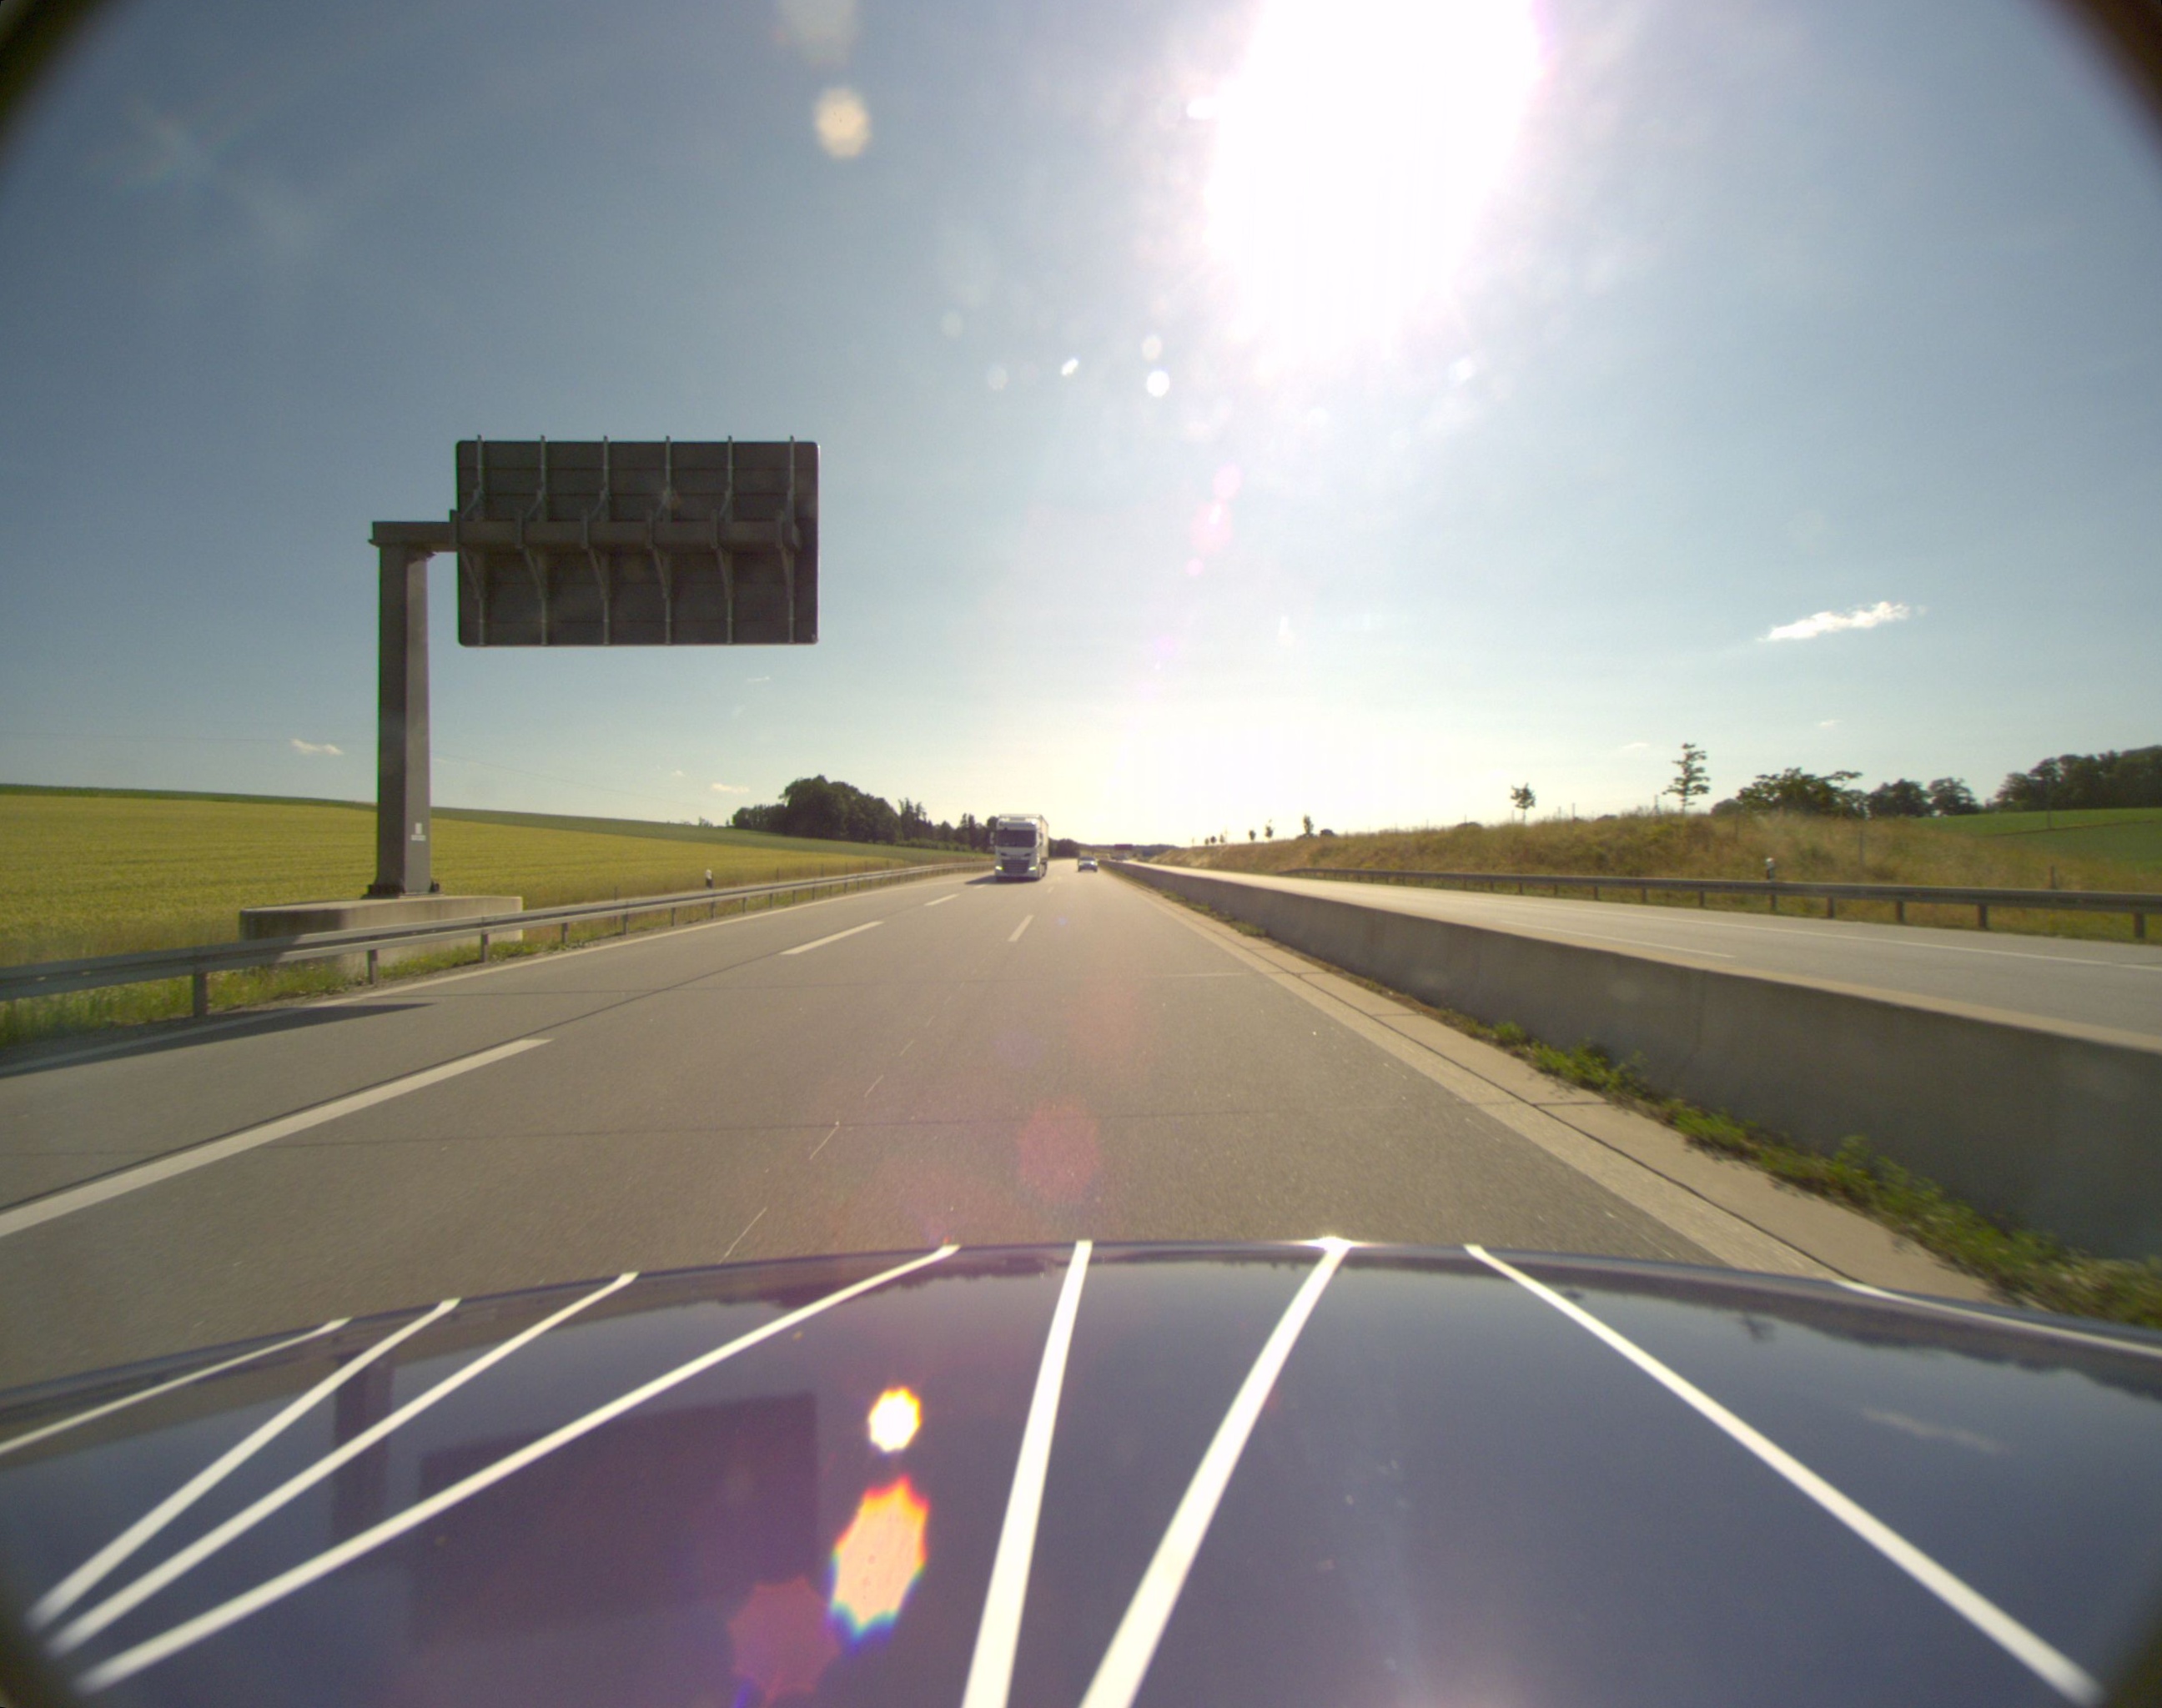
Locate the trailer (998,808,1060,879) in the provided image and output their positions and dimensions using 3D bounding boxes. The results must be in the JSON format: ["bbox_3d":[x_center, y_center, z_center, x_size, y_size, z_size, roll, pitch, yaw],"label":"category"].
[{"bbox_3d":[-3.467,-0.692,55.172,3.184,4.269,15.458,2,0,0],"label":"trailer"}]

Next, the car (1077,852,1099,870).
[{"bbox_3d":[0.706,0.657,73.747,1.891,1.565,3.793,1,0,5],"label":"car"}]

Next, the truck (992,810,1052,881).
[{"bbox_3d":[-3.480,-0.500,46.244,3.090,3.991,6.188,1,0,1],"label":"truck"}]

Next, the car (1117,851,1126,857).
[{"bbox_3d":[11.853,-0.016,220.836,2.239,1.923,5.794,0,0,0],"label":"car"}]
